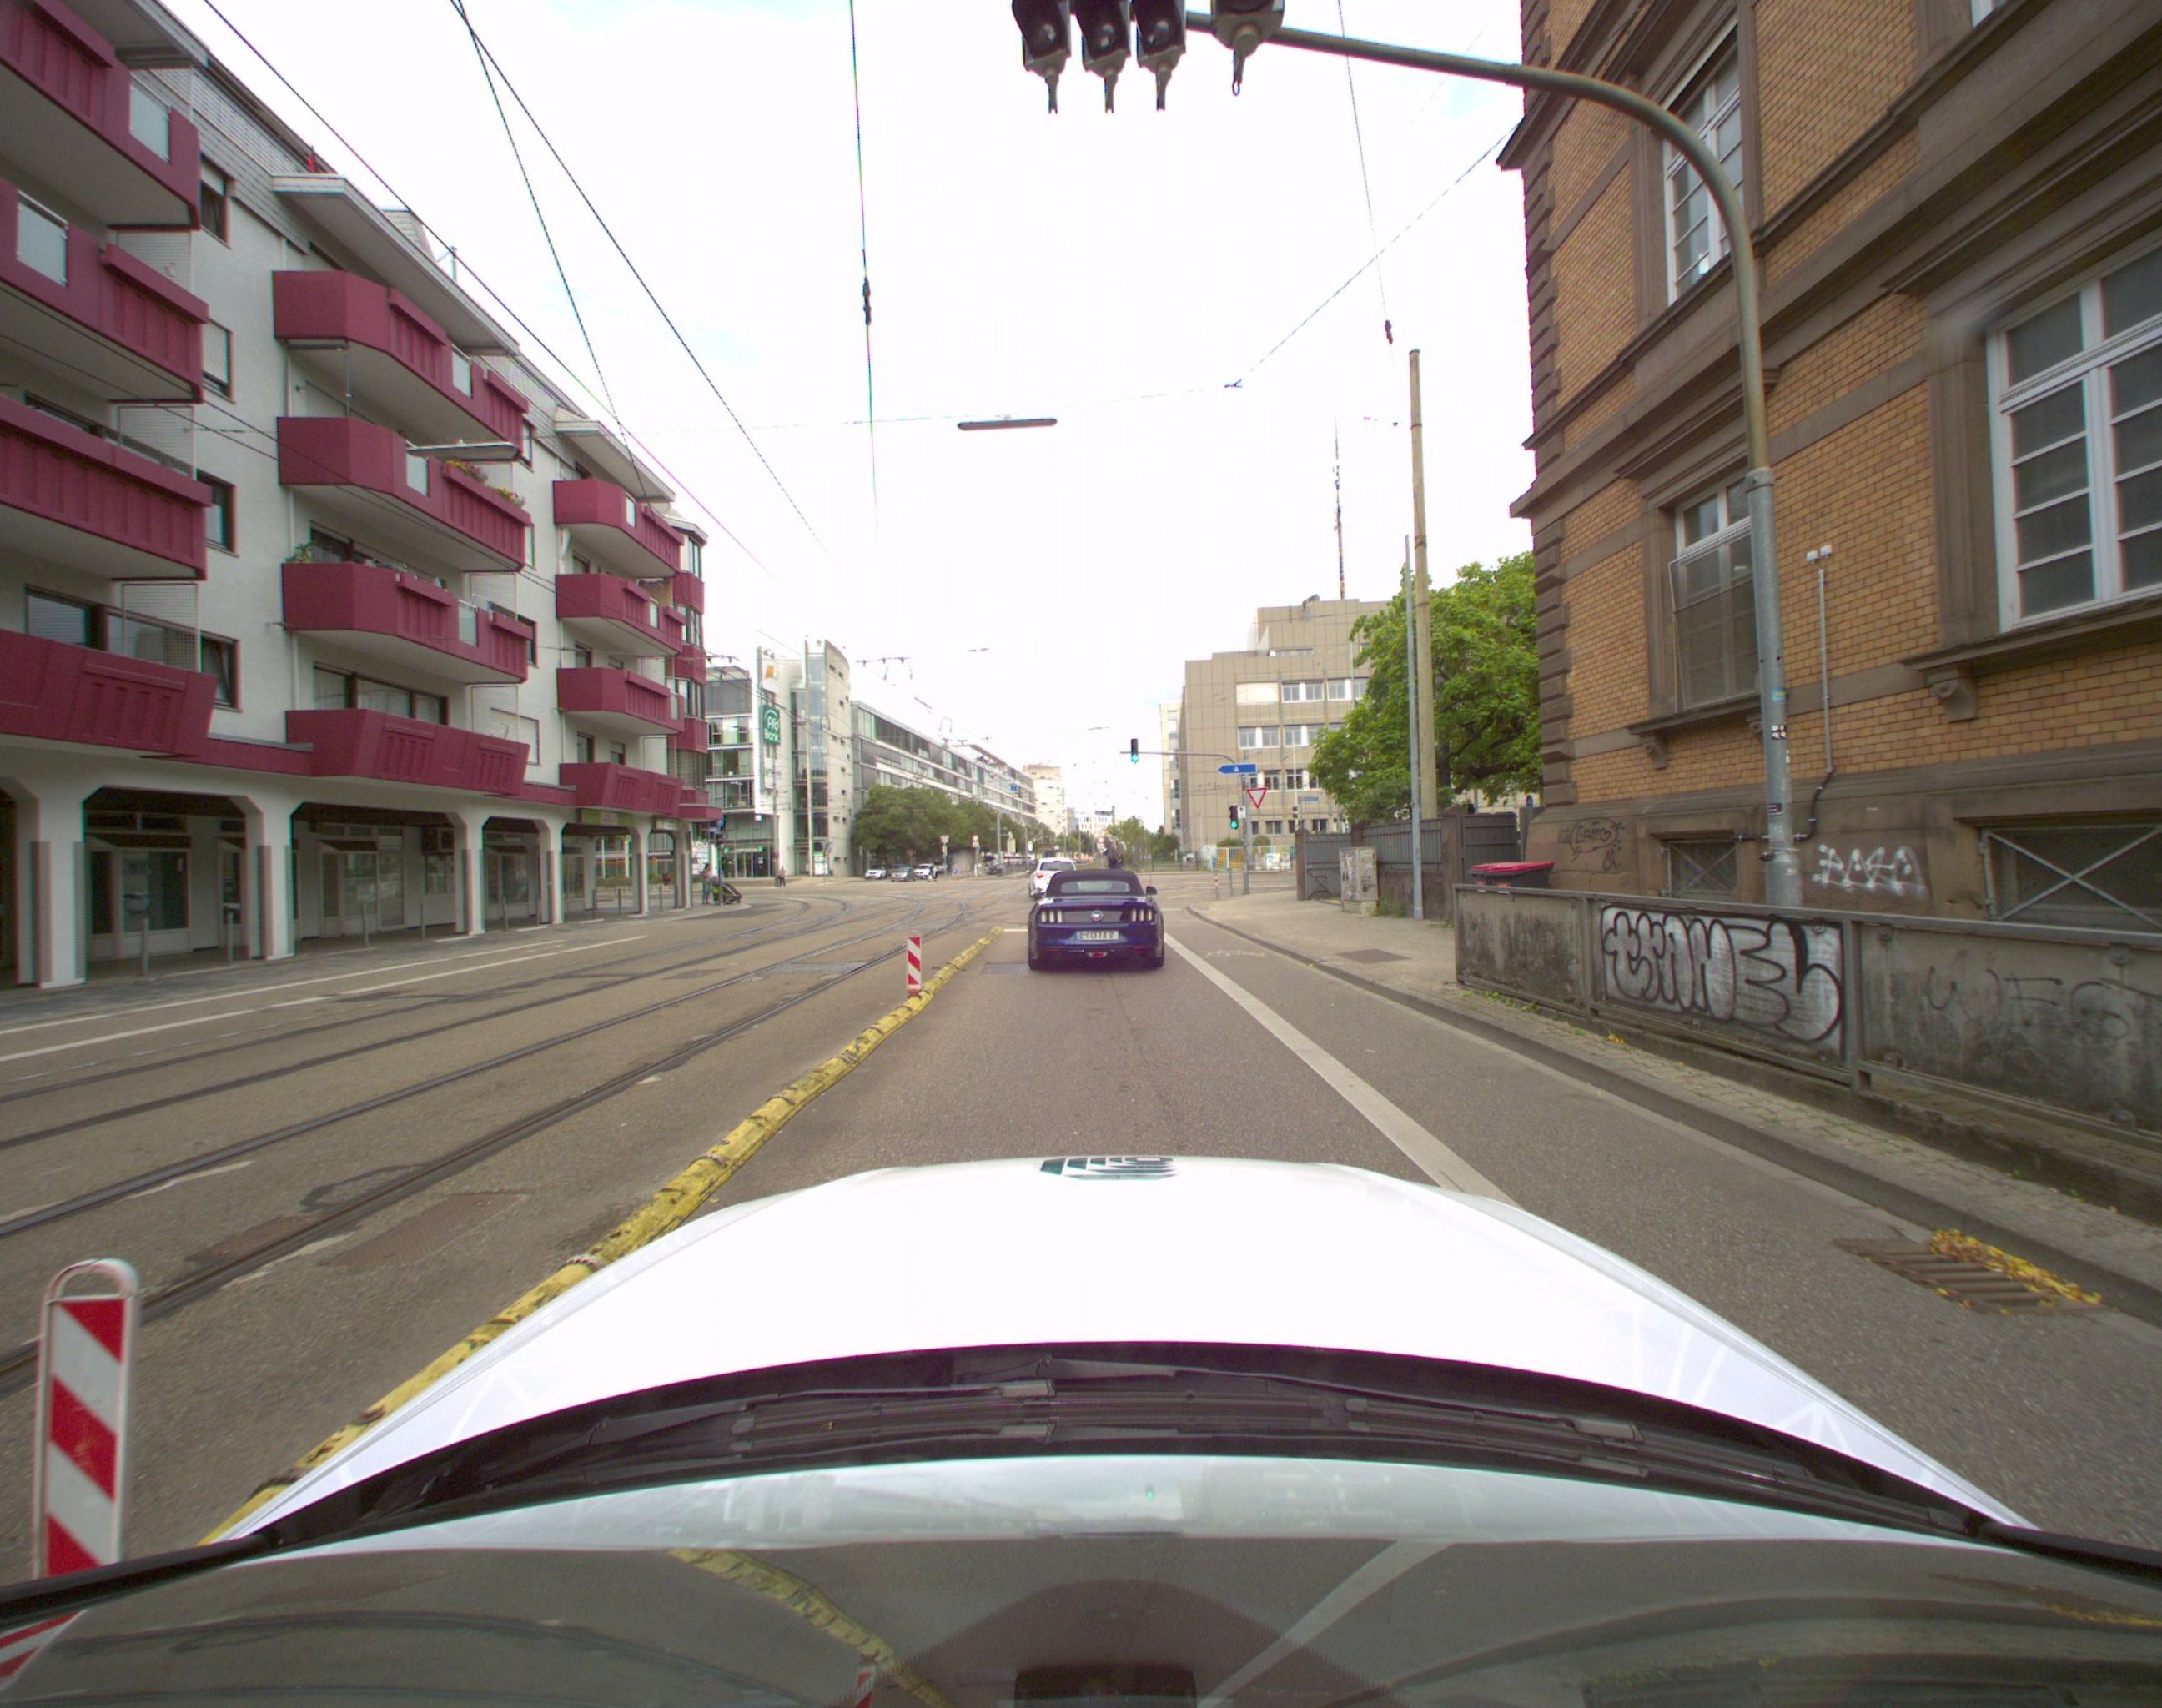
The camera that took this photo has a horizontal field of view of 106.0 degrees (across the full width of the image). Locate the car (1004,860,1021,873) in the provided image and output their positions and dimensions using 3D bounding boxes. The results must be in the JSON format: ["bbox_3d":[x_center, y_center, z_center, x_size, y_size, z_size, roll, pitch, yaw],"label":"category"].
[{"bbox_3d":[-9.216,1.659,109.790,1.861,1.606,4.213,-2,0,1],"label":"car"}]

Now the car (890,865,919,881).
[{"bbox_3d":[-17.744,1.879,82.056,1.660,1.506,4.241,0,0,5],"label":"car"}]

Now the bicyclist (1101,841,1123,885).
[{"bbox_3d":[1.310,0.376,34.253,0.794,1.785,1.232,-2,-1,-1],"label":"bicyclist"}]

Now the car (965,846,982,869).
[{"bbox_3d":[-17.682,0.554,134.504,1.978,3.637,4.515,0,0,2],"label":"car"}]

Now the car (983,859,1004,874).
[{"bbox_3d":[-10.348,1.438,96.268,1.873,1.628,4.088,-2,0,1],"label":"car"}]

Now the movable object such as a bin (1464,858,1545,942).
[{"bbox_3d":[5.885,0.628,11.345,0.649,1.082,0.677,-5,-1,-4],"label":"movable object such as a bin"}]

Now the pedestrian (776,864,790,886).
[{"bbox_3d":[-26.086,1.809,71.326,0.828,1.865,0.769,-2,-1,13],"label":"pedestrian"}]

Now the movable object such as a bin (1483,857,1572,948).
[{"bbox_3d":[5.810,0.619,10.630,0.662,1.082,0.700,-5,-1,-4],"label":"movable object such as a bin"}]

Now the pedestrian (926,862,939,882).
[{"bbox_3d":[-13.805,1.661,75.823,0.984,1.855,0.902,-2,-1,3],"label":"pedestrian"}]

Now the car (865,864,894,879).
[{"bbox_3d":[-22.233,1.918,90.090,1.821,1.557,4.223,0,0,5],"label":"car"}]

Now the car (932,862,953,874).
[{"bbox_3d":[-19.567,1.983,115.487,1.978,1.557,4.515,0,0,2],"label":"car"}]

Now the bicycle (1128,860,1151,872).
[{"bbox_3d":[5.147,1.065,71.563,0.637,0.981,2.133,-2,-3,-41],"label":"bicycle"}]

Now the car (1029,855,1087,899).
[{"bbox_3d":[-0.936,0.823,30.473,1.833,1.439,4.178,-2,0,-6],"label":"car"}]

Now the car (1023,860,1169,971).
[{"bbox_3d":[0.250,0.806,12.621,1.869,1.404,4.283,-1,0,1],"label":"car"}]

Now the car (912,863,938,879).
[{"bbox_3d":[-17.108,1.821,89.585,1.706,1.660,4.139,0,0,5],"label":"car"}]

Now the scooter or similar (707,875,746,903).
[{"bbox_3d":[-14.903,1.472,34.244,1.192,1.128,0.946,-1,0,-2],"label":"scooter or similar"}]

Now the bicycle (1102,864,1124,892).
[{"bbox_3d":[1.319,0.994,34.230,0.798,1.086,2.131,-2,0,-1],"label":"bicycle"}]

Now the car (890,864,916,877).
[{"bbox_3d":[-21.231,1.967,97.299,1.821,1.557,4.223,0,0,5],"label":"car"}]

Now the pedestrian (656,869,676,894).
[{"bbox_3d":[-29.237,1.943,57.366,0.928,1.671,0.769,-2,-1,13],"label":"pedestrian"}]

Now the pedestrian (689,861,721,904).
[{"bbox_3d":[-15.767,1.174,34.185,0.945,1.743,0.811,-2,-1,-3],"label":"pedestrian"}]

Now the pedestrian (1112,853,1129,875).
[{"bbox_3d":[3.472,0.864,71.448,1.075,1.898,0.907,-2,-1,28],"label":"pedestrian"}]
